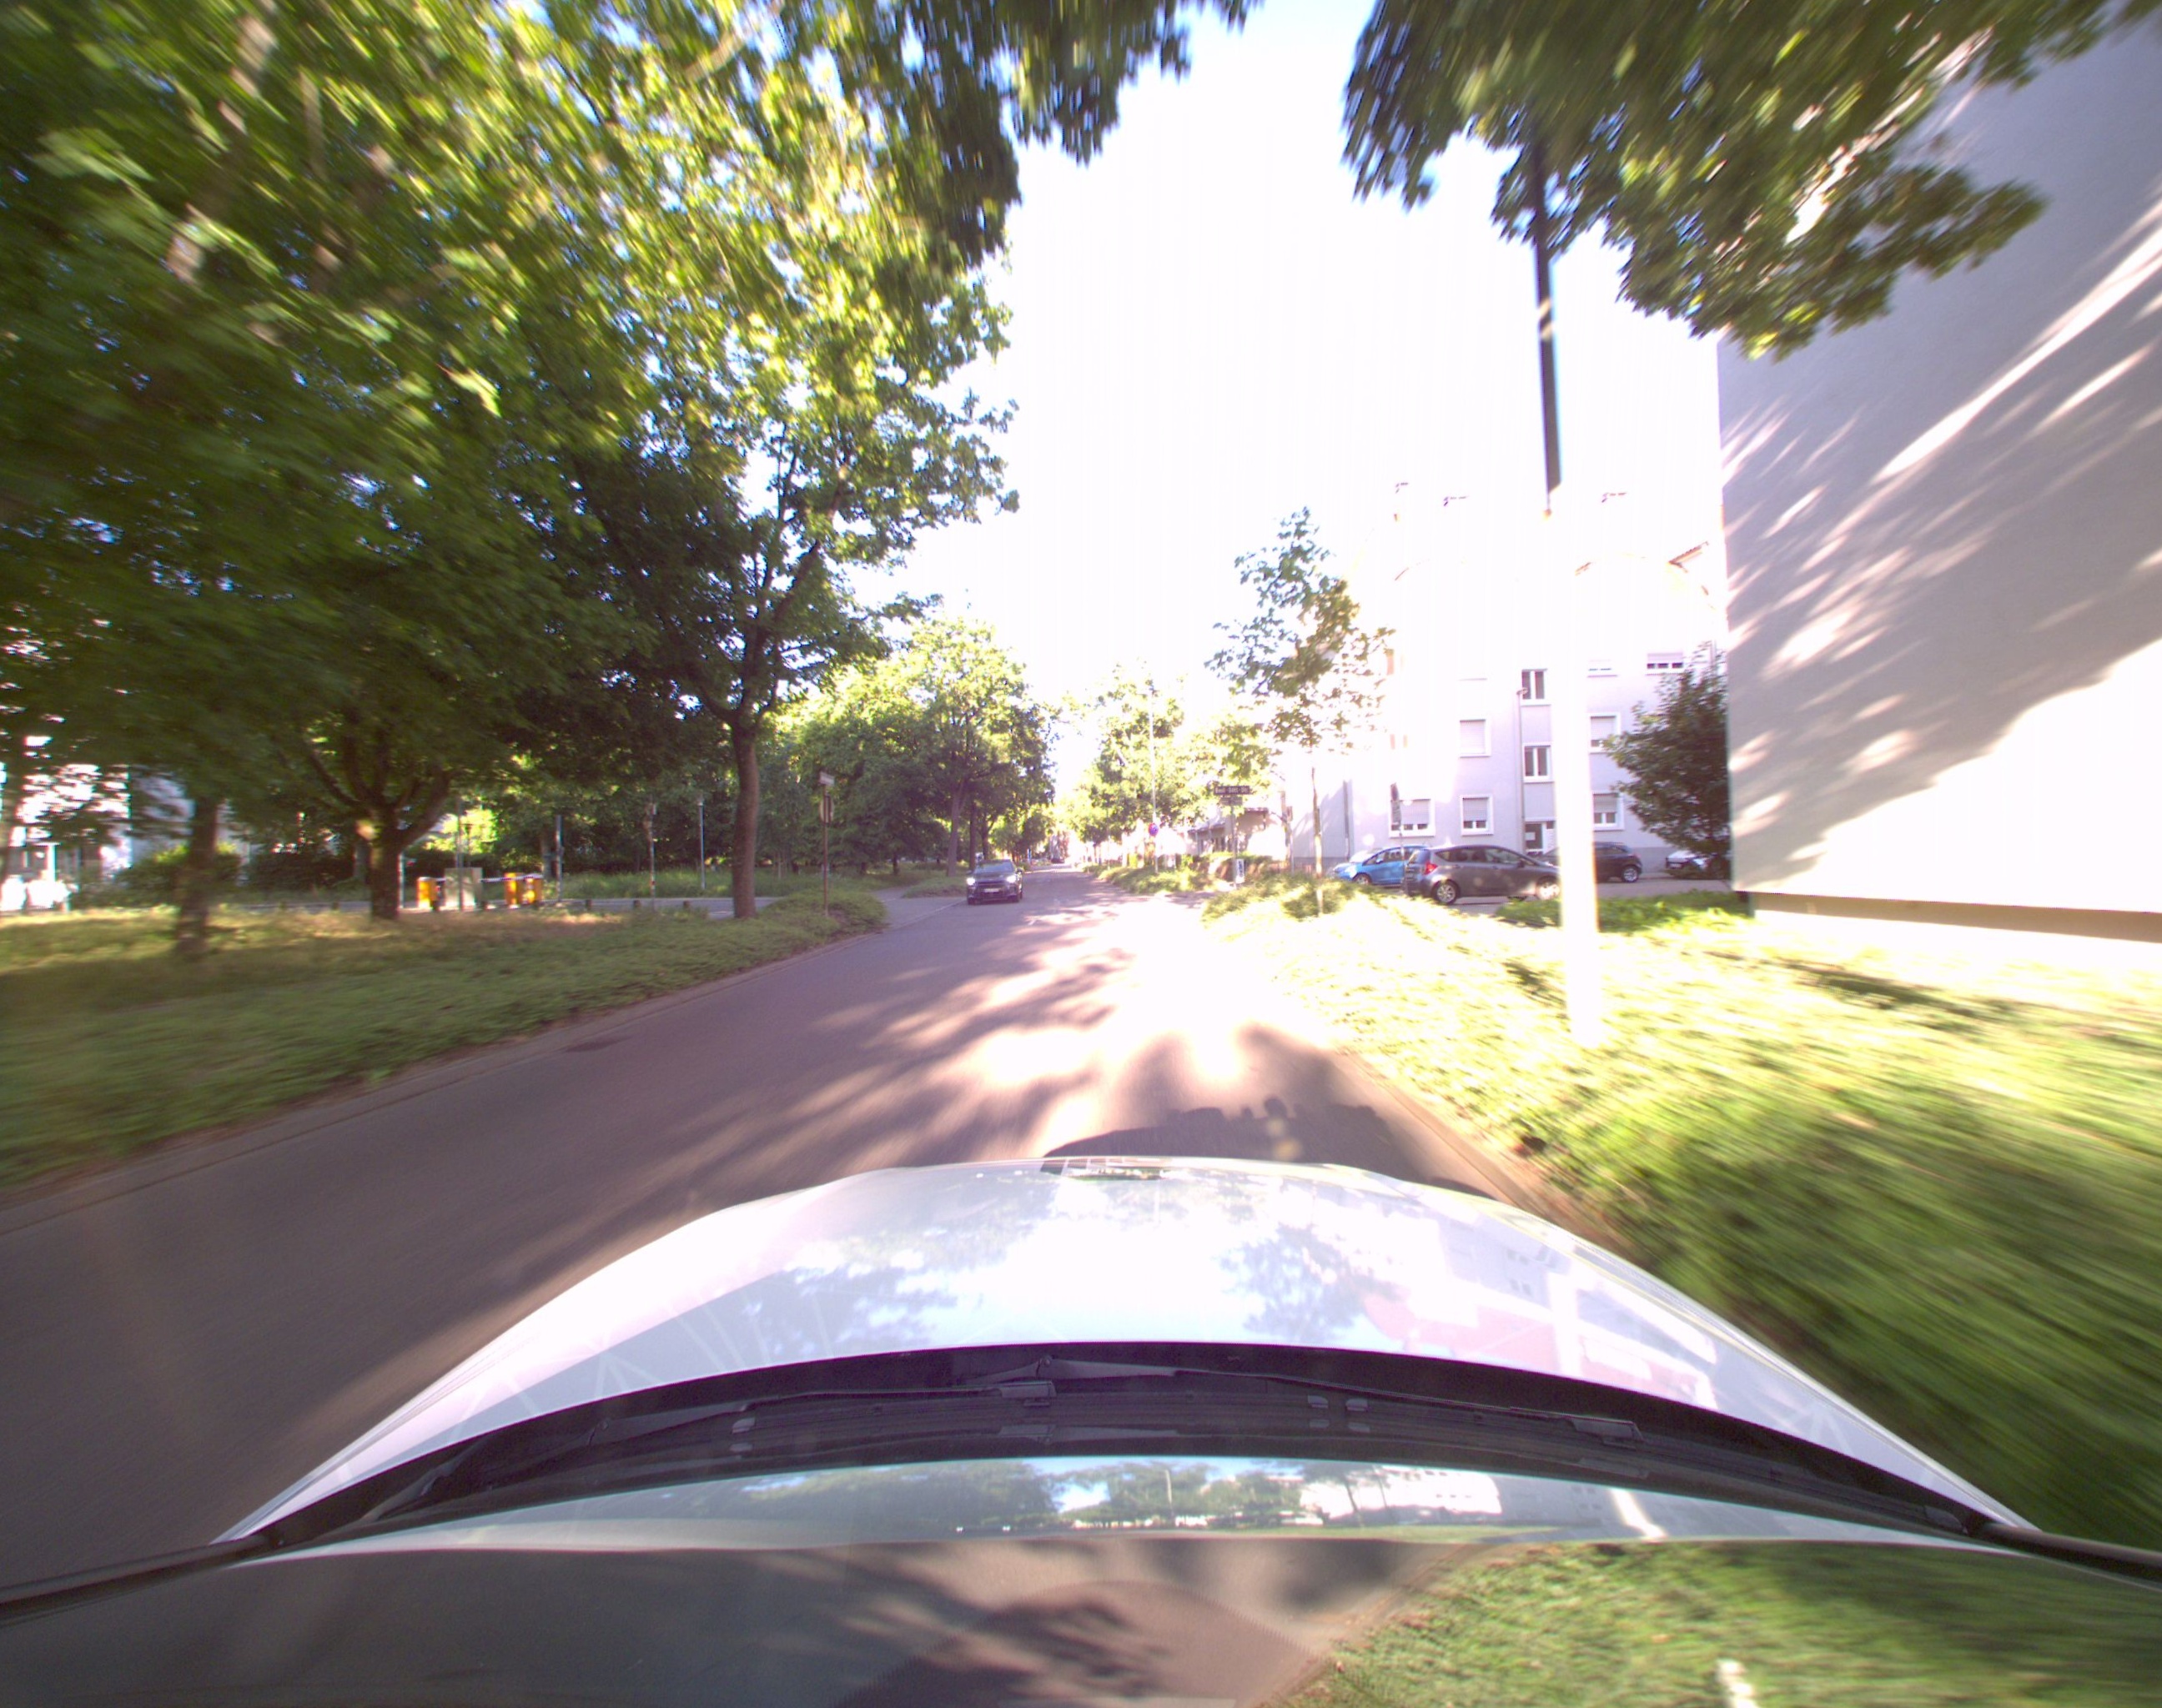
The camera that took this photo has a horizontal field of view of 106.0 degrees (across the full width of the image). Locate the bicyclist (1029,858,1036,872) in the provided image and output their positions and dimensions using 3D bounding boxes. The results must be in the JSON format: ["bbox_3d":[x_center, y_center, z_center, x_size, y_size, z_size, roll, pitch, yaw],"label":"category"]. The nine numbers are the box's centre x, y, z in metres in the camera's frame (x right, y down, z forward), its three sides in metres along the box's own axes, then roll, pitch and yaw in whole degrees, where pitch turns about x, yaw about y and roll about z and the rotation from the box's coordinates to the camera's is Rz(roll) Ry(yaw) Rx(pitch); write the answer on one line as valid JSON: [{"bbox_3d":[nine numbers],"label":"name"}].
[{"bbox_3d":[-5.600,1.241,93.734,0.630,1.555,1.003,-3,0,3],"label":"bicyclist"}]

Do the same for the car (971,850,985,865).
[{"bbox_3d":[-17.462,0.664,138.071,1.994,2.508,3.985,-1,0,-11],"label":"car"}]

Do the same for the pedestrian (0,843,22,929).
[{"bbox_3d":[-25.733,0.764,19.193,0.754,2.014,0.590,-1,-1,-2],"label":"pedestrian"}]

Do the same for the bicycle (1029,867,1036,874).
[{"bbox_3d":[-5.565,1.875,93.720,0.636,0.742,2.127,-3,0,2],"label":"bicycle"}]

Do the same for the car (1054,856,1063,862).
[{"bbox_3d":[-5.505,1.281,198.906,1.809,1.501,3.992,0,0,-6],"label":"car"}]

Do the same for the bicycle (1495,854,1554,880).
[{"bbox_3d":[16.691,0.487,30.674,1.958,0.925,0.483,-1,1,-2],"label":"bicycle"}]

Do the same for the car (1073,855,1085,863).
[{"bbox_3d":[-0.387,1.084,162.333,1.811,1.501,3.987,-2,0,-9],"label":"car"}]

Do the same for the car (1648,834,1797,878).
[{"bbox_3d":[22.962,0.064,29.251,4.001,1.498,1.734,-1,0,-1],"label":"car"}]

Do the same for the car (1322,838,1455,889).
[{"bbox_3d":[10.741,0.302,28.647,3.977,1.581,1.808,-2,1,-3],"label":"car"}]

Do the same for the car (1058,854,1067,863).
[{"bbox_3d":[-4.409,1.019,190.818,1.809,1.925,3.992,0,0,-6],"label":"car"}]

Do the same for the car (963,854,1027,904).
[{"bbox_3d":[-3.073,0.858,29.905,1.839,1.578,4.334,-3,0,-1],"label":"car"}]

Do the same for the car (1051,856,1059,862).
[{"bbox_3d":[-6.572,1.336,205.394,1.809,1.501,3.992,0,0,-6],"label":"car"}]

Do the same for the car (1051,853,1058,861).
[{"bbox_3d":[-7.036,0.749,215.590,1.809,2.050,3.992,0,0,-6],"label":"car"}]

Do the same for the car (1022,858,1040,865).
[{"bbox_3d":[-10.543,1.535,172.170,3.588,1.510,1.495,0,0,-10],"label":"car"}]

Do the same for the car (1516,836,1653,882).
[{"bbox_3d":[17.698,0.162,28.733,3.812,1.498,1.648,-1,0,-1],"label":"car"}]

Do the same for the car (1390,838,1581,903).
[{"bbox_3d":[10.268,0.427,20.848,4.029,1.514,1.725,-1,-2,-2],"label":"car"}]
